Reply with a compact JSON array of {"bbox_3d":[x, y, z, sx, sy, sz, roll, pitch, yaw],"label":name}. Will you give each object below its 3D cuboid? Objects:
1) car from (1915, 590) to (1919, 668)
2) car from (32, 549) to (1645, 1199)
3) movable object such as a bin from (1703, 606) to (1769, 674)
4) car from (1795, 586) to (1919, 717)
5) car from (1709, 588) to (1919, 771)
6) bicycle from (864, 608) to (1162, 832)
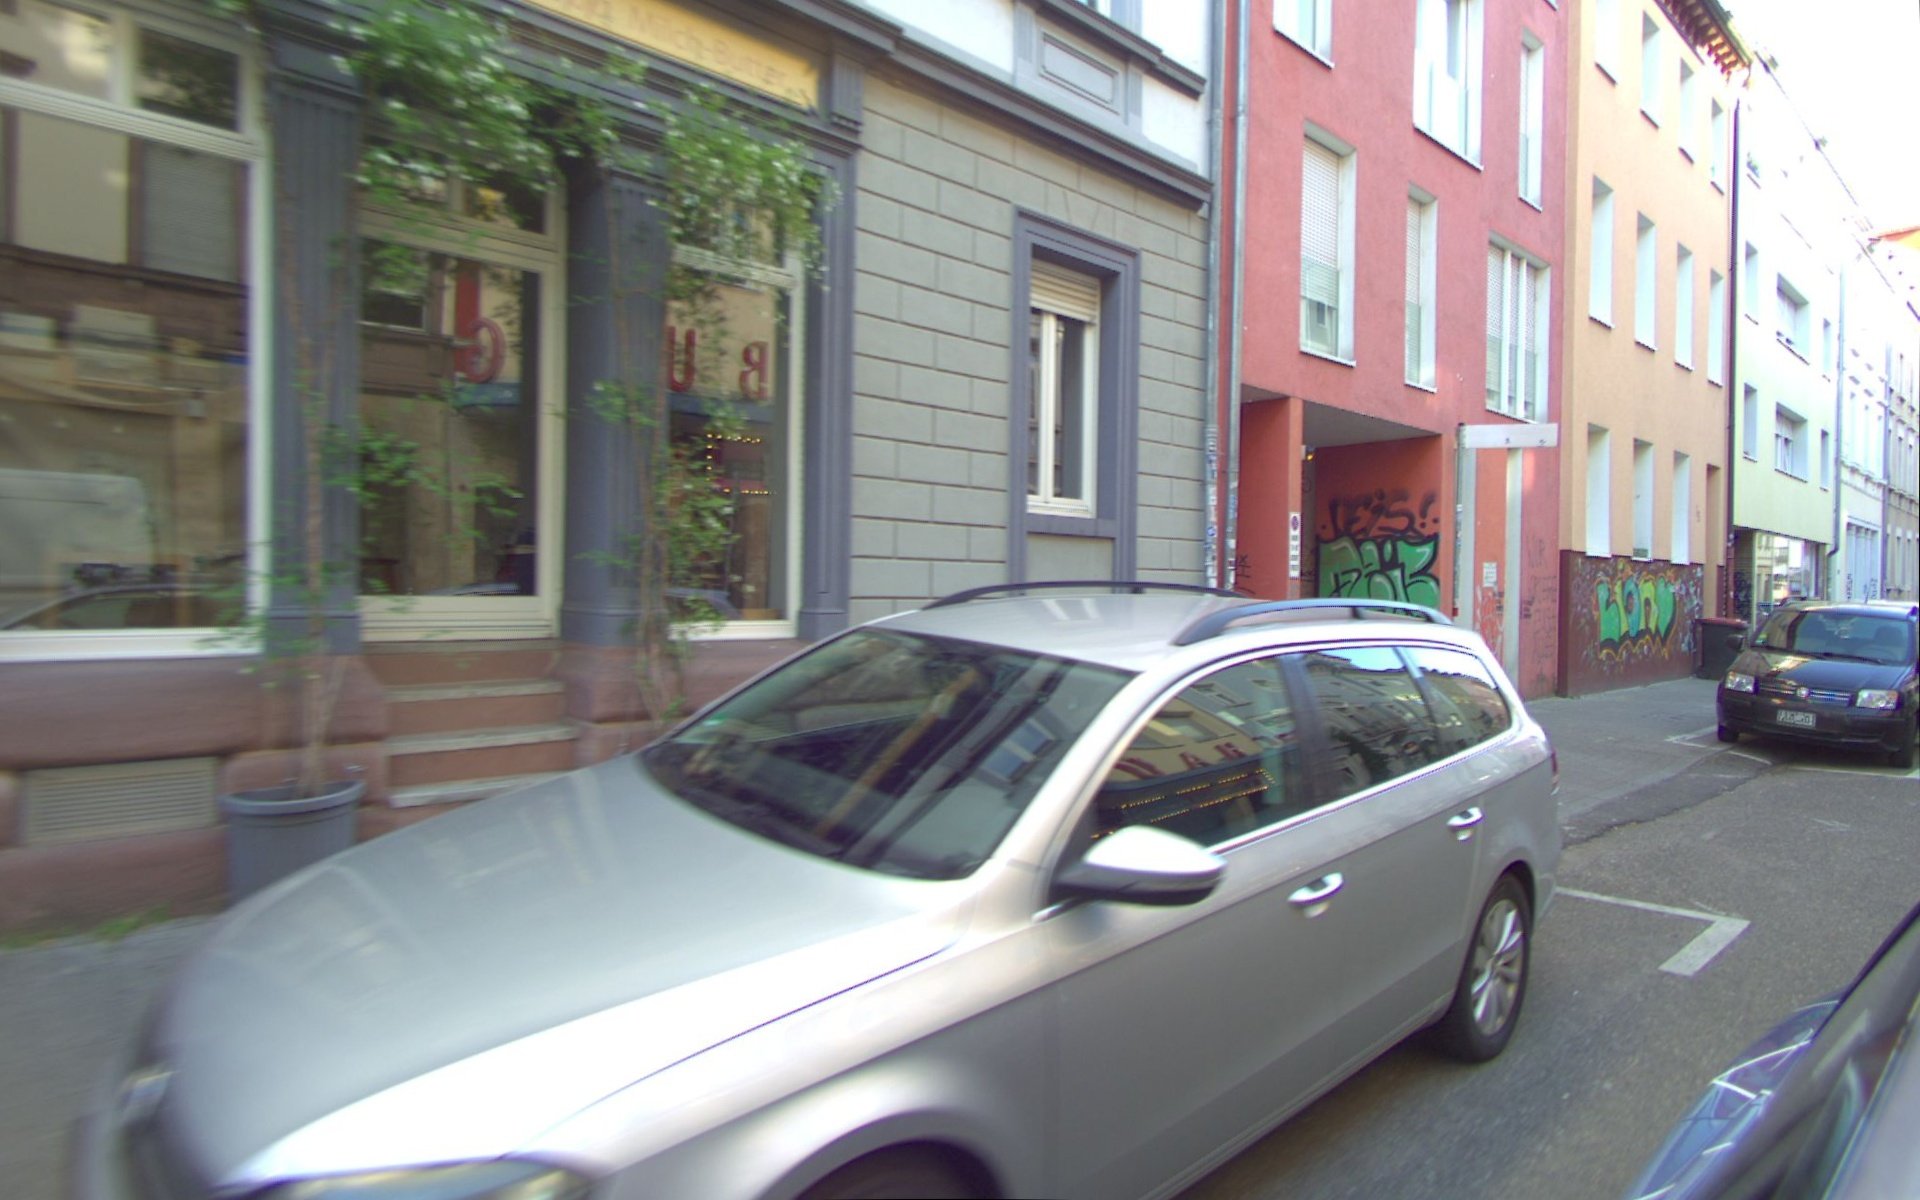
[{"bbox_3d":[20.871,0.615,20.495,3.909,1.542,1.702,0,2,-39],"label":"car"},{"bbox_3d":[0.284,0.688,3.045,4.468,1.471,1.790,0,4,-41],"label":"car"},{"bbox_3d":[13.127,0.658,17.126,0.723,1.070,0.694,0,3,-39],"label":"movable object such as a bin"},{"bbox_3d":[13.046,0.631,13.838,4.096,1.575,1.750,0,1,-39],"label":"car"},{"bbox_3d":[9.486,0.708,10.748,3.388,1.558,1.606,0,4,-39],"label":"car"},{"bbox_3d":[0.381,0.649,6.272,1.869,1.110,0.711,-1,4,-43],"label":"bicycle"}]
